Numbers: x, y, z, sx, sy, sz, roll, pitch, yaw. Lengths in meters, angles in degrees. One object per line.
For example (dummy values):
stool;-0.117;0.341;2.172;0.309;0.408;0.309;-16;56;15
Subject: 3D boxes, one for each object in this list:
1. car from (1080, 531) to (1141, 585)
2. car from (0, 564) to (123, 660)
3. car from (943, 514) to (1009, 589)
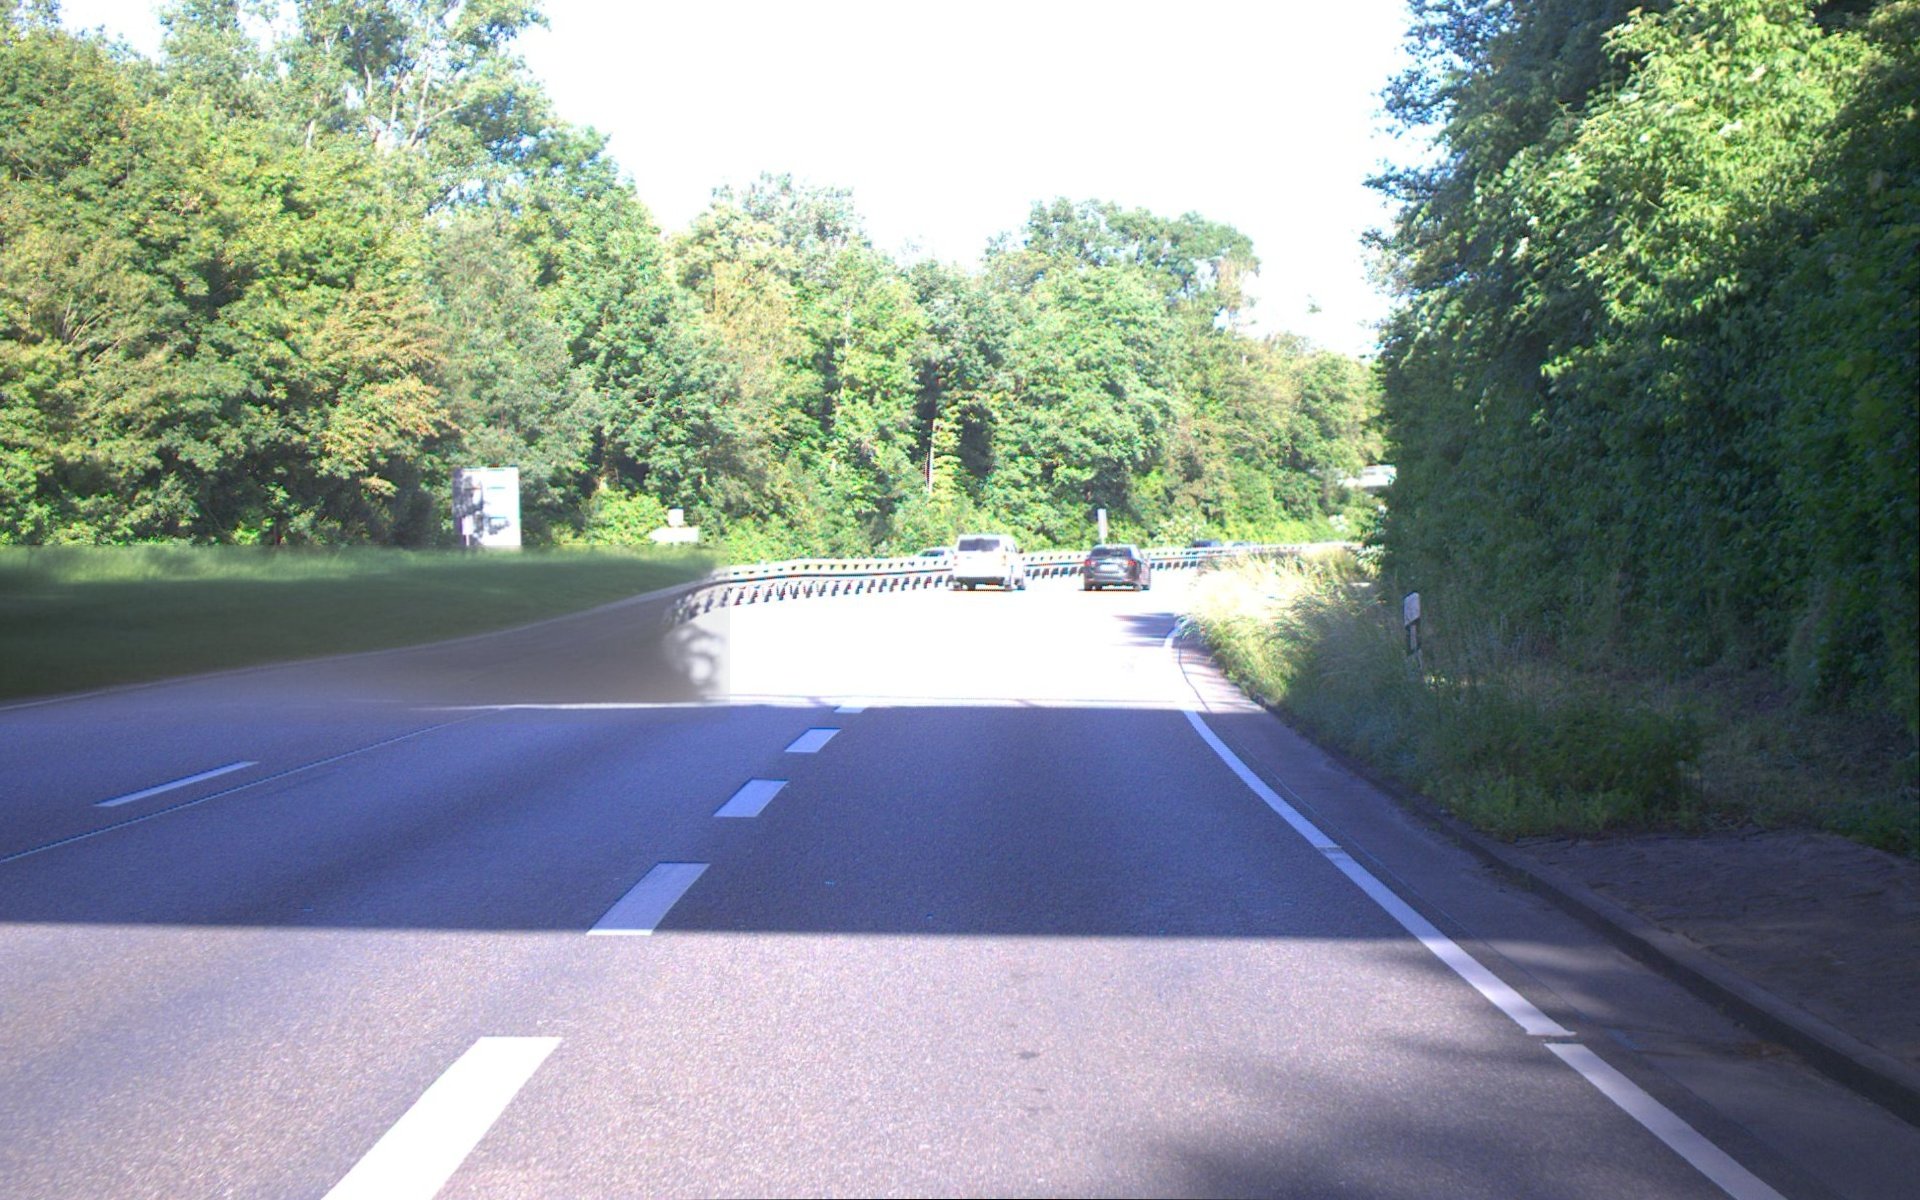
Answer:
car;4.767;-1.324;108.297;1.739;1.656;3.945;-1;1;5
car;-16.465;0.178;60.705;1.994;1.588;4.728;1;1;3
car;0.481;-1.497;106.761;1.993;2.270;4.000;-1;1;0
